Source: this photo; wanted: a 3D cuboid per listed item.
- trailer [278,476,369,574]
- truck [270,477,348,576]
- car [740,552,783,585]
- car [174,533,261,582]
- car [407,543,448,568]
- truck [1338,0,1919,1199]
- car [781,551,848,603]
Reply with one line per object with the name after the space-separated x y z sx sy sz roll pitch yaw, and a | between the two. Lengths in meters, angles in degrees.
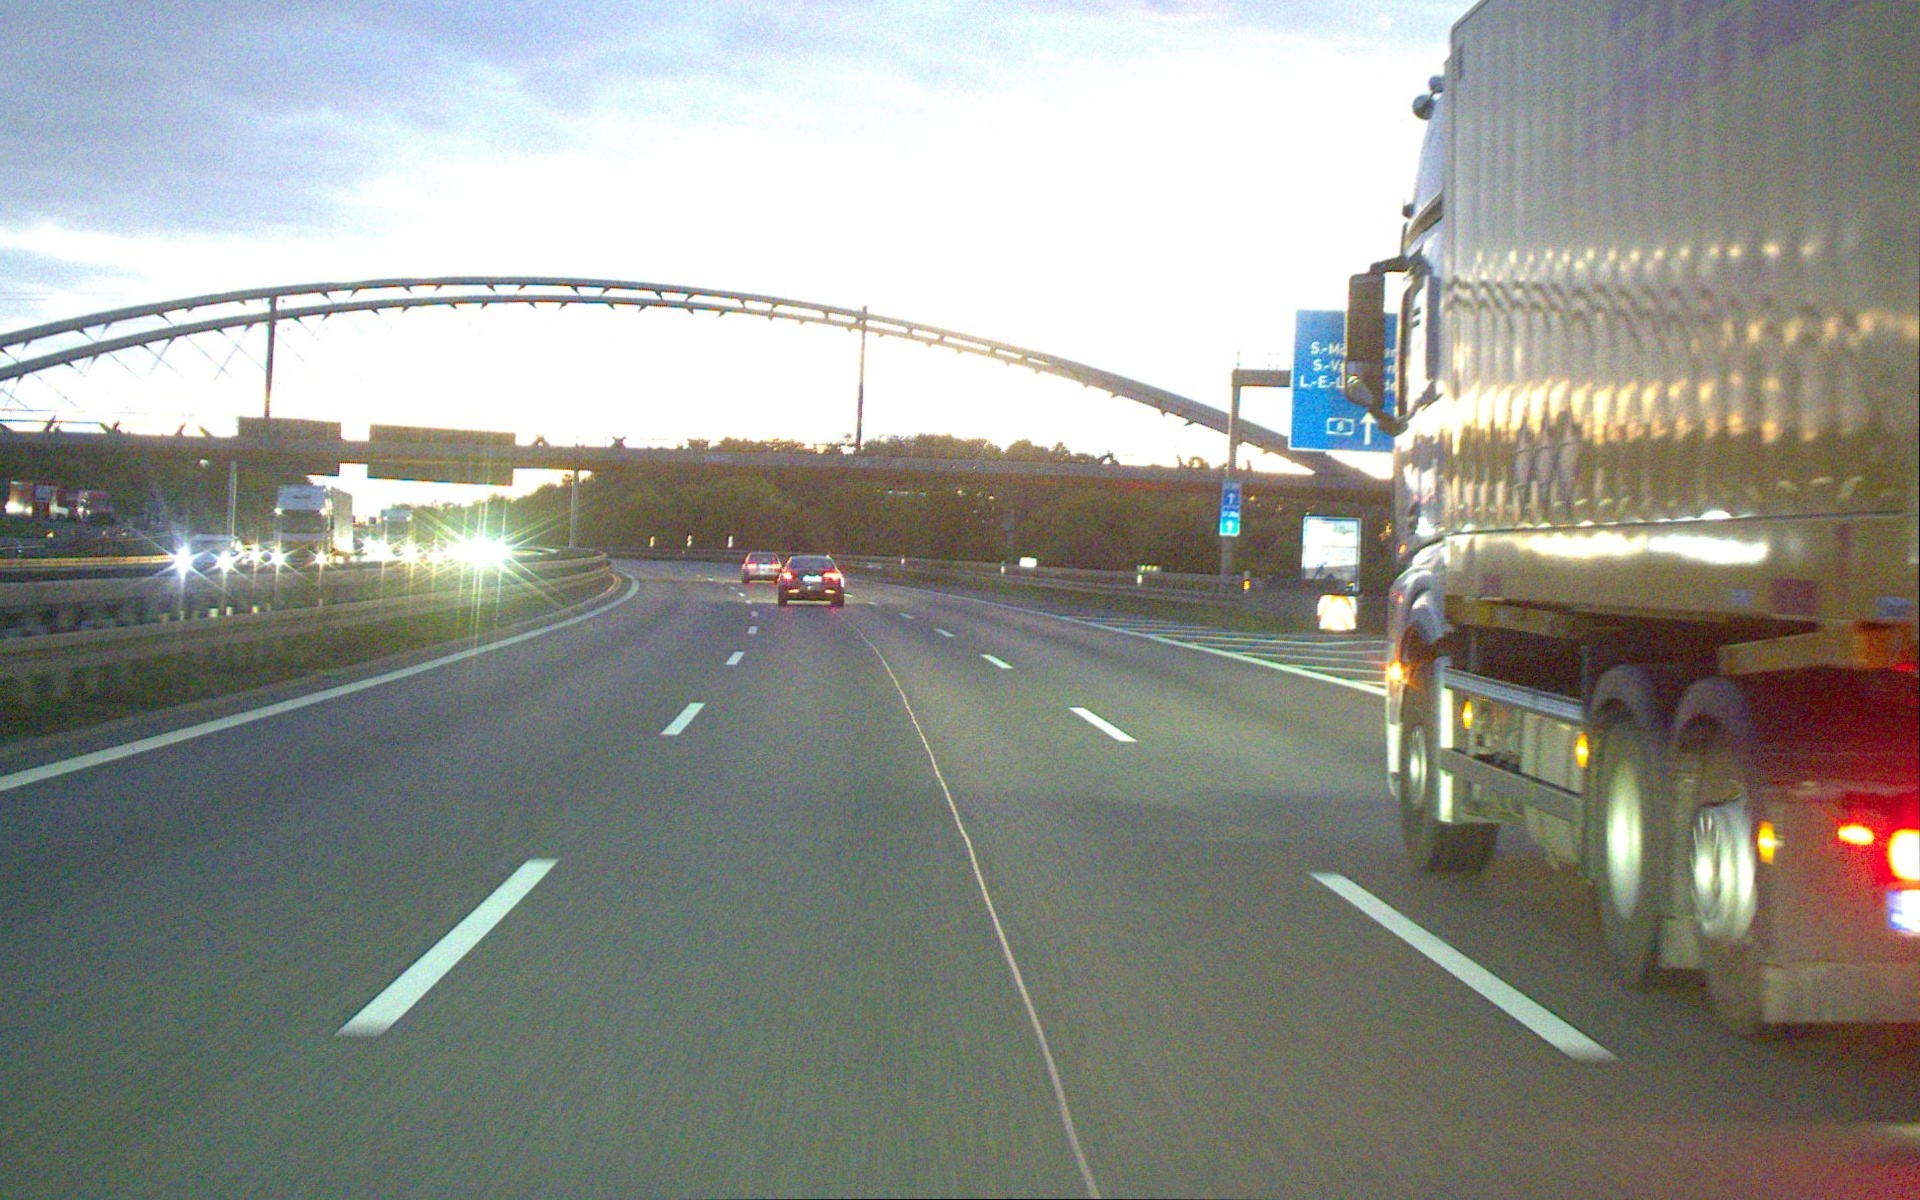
-30.717 -3.578 166.425 2.824 4.492 14.630 1 1 -5 | trailer
-30.243 -3.390 159.932 2.824 4.492 6.246 1 1 -5 | truck
-9.075 -1.420 157.664 1.689 1.397 3.408 1 -1 1 | car
-25.635 -1.476 118.901 1.993 1.619 4.844 1 1 -1 | car
-31.324 -2.641 202.443 1.993 1.399 4.330 1 1 -4 | car
3.554 -0.621 13.515 2.690 4.057 10.521 1 1 -1 | truck
-4.188 -0.658 98.543 1.689 1.397 3.409 1 -1 -6 | car
